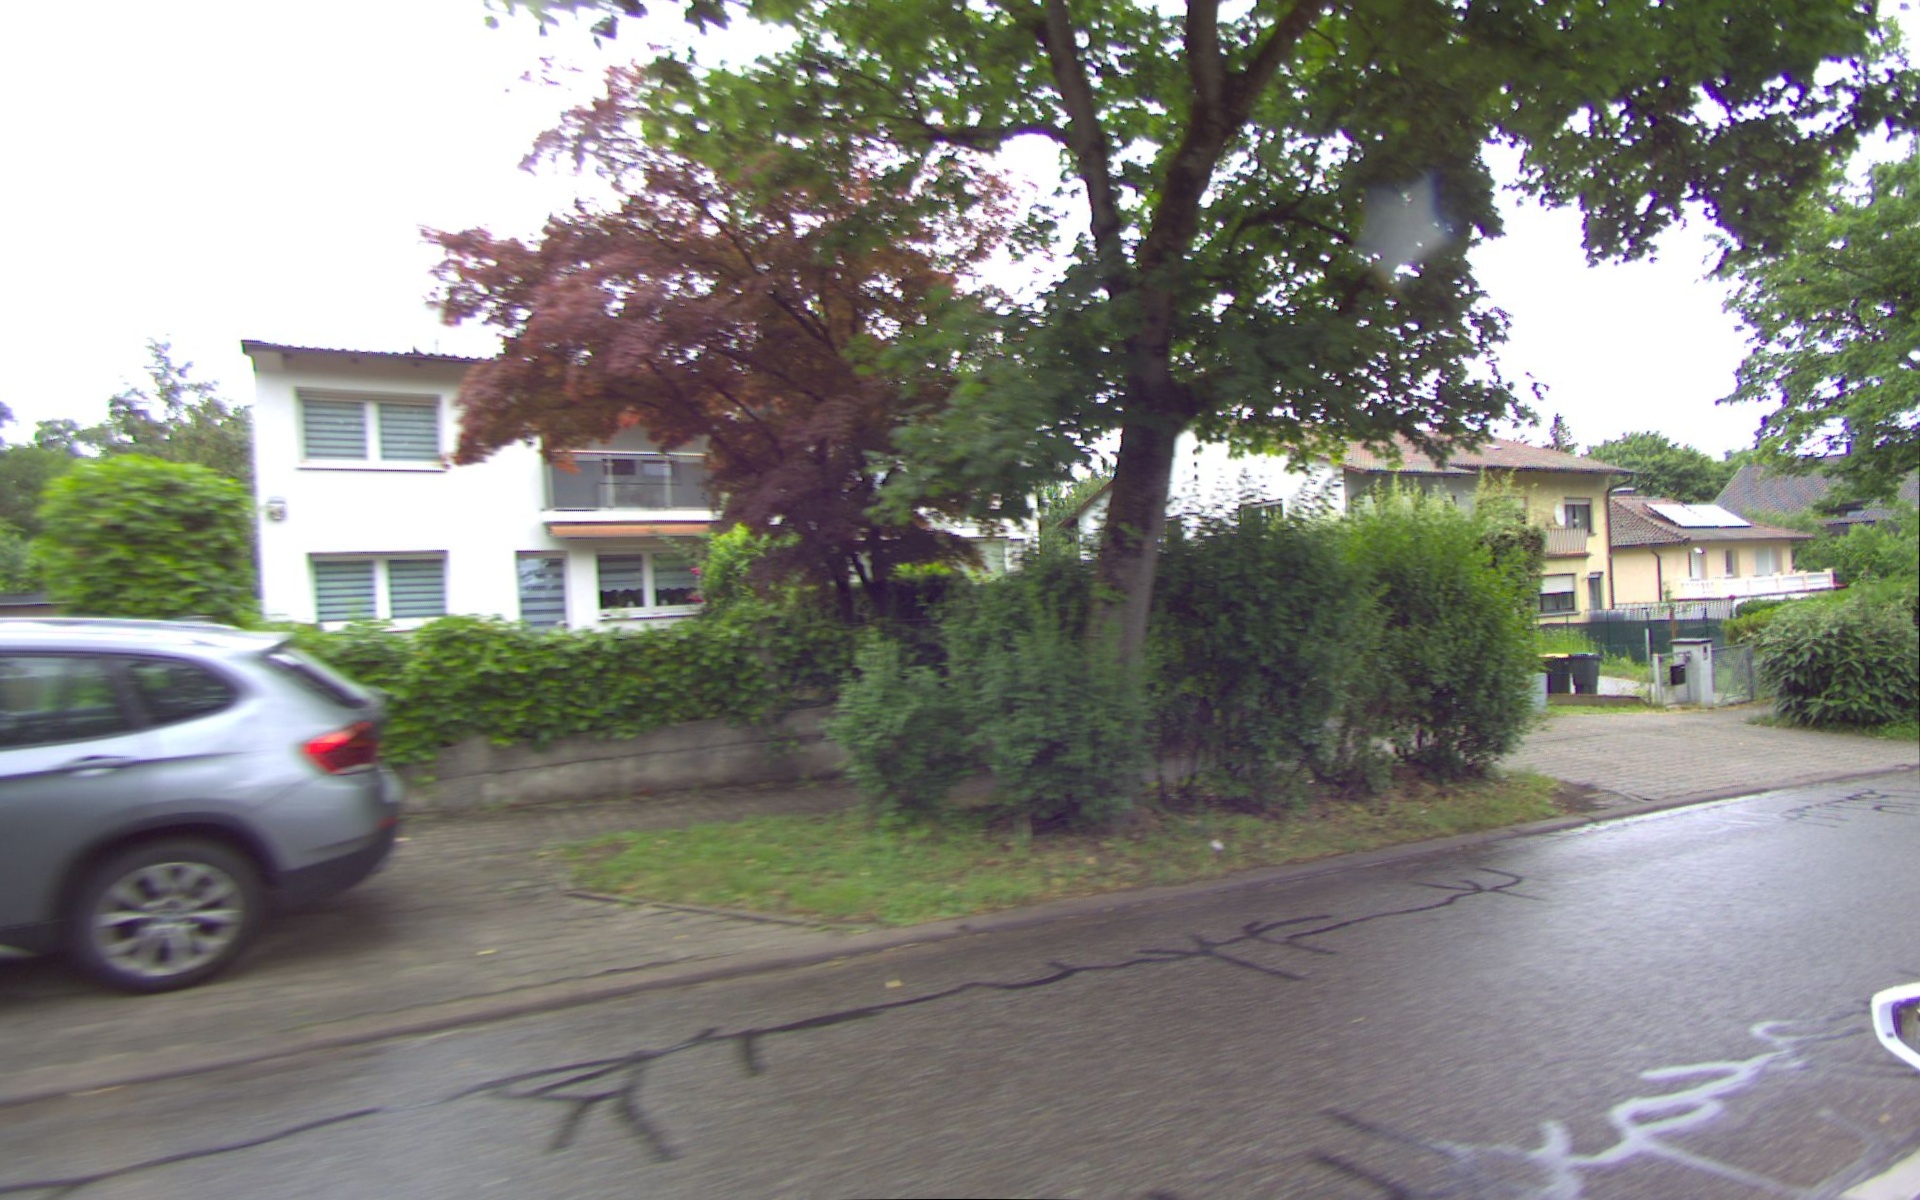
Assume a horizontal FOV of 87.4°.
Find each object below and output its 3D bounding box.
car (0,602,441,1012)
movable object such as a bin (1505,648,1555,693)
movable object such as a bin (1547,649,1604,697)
[{"bbox_3d":[-4.690,0.815,4.348,4.236,1.563,1.654,1,1,-32],"label":"car"},{"bbox_3d":[11.114,1.363,19.590,0.626,0.836,0.629,0,0,-30],"label":"movable object such as a bin"},{"bbox_3d":[11.535,1.352,18.829,0.626,0.836,0.705,0,0,-30],"label":"movable object such as a bin"}]
